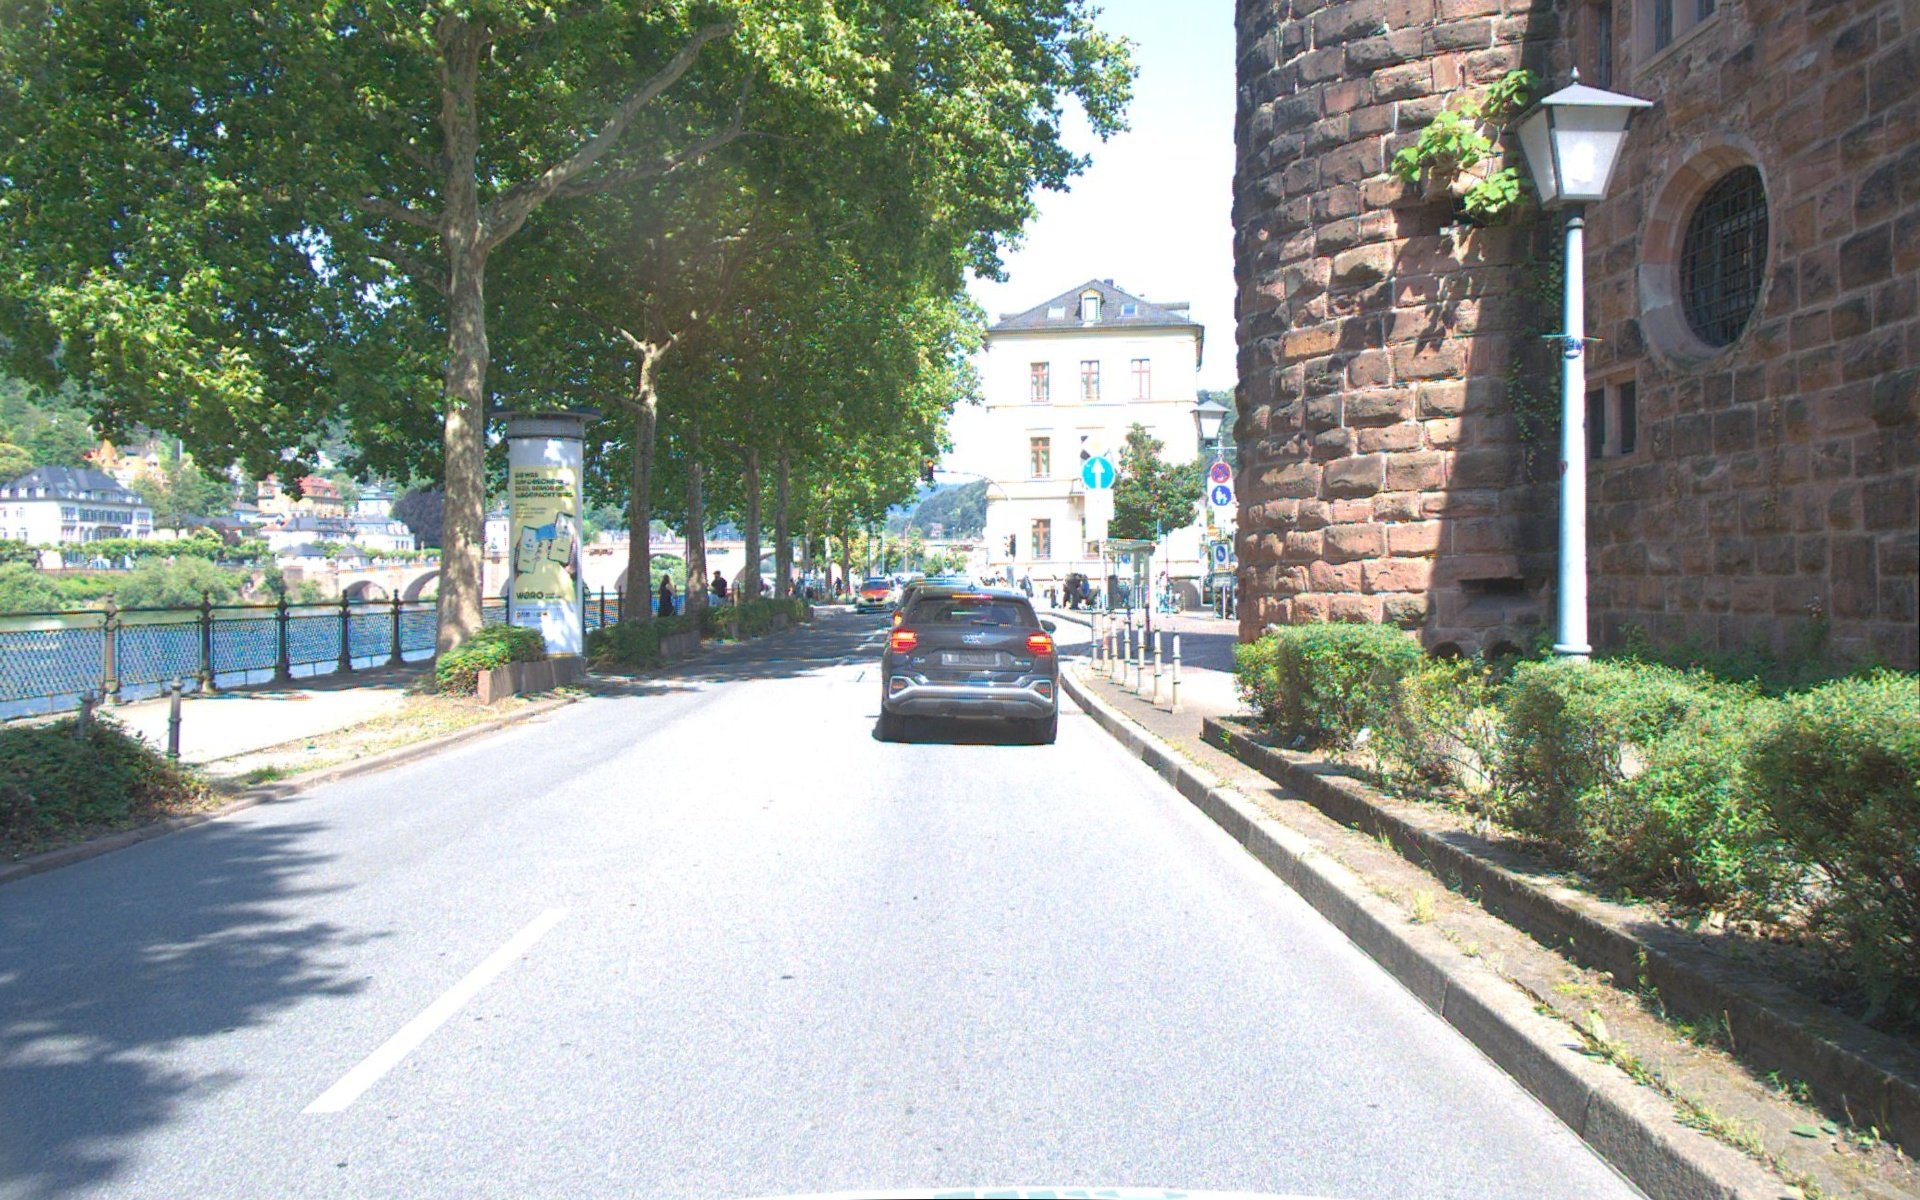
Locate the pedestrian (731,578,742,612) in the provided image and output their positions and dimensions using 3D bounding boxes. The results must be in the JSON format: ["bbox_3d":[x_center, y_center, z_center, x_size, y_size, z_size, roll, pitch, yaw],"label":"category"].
[{"bbox_3d":[-10.453,-0.230,77.406,0.488,1.564,0.679,0,0,-8],"label":"pedestrian"}]

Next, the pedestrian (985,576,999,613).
[{"bbox_3d":[1.383,-0.245,71.250,0.545,1.585,0.660,1,0,0],"label":"pedestrian"}]

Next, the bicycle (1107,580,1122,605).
[{"bbox_3d":[6.194,-0.311,66.418,0.441,0.991,1.399,2,0,0],"label":"bicycle"}]

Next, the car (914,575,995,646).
[{"bbox_3d":[-0.130,0.204,38.445,1.764,1.549,3.716,-1,1,0],"label":"car"}]

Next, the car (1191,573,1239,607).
[{"bbox_3d":[13.739,-0.549,89.260,1.953,1.746,4.000,2,0,0],"label":"car"}]

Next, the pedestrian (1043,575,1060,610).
[{"bbox_3d":[4.107,-0.339,74.142,0.731,1.585,0.588,1,0,0],"label":"pedestrian"}]

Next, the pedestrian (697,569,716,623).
[{"bbox_3d":[-8.304,-0.139,54.169,0.552,1.772,0.665,0,0,-4],"label":"pedestrian"}]

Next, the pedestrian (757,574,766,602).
[{"bbox_3d":[-10.330,-0.622,86.091,0.401,1.450,0.456,2,0,-4],"label":"pedestrian"}]

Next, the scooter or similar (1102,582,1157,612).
[{"bbox_3d":[5.840,-0.098,56.955,1.808,0.980,0.429,2,0,-1],"label":"scooter or similar"}]

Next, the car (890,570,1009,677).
[{"bbox_3d":[-0.160,0.320,26.607,1.764,1.590,3.716,0,1,0],"label":"car"}]

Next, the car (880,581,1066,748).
[{"bbox_3d":[0.074,0.586,17.346,1.713,1.520,3.628,1,1,-2],"label":"car"}]

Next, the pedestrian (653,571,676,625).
[{"bbox_3d":[-9.722,-0.076,54.491,0.632,1.747,0.665,1,0,-4],"label":"pedestrian"}]

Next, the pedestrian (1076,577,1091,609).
[{"bbox_3d":[4.865,-0.267,65.161,0.535,1.222,0.522,2,0,0],"label":"pedestrian"}]

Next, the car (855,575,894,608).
[{"bbox_3d":[-4.091,-0.410,79.407,1.581,1.549,3.477,0,1,1],"label":"car"}]

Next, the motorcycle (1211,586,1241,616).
[{"bbox_3d":[7.558,0.015,47.131,0.473,0.832,2.279,0,1,0],"label":"motorcycle"}]

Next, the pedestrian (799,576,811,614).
[{"bbox_3d":[-6.864,-0.213,73.422,0.507,1.666,0.438,0,0,-8],"label":"pedestrian"}]

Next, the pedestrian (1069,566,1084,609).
[{"bbox_3d":[4.530,-0.474,64.376,0.545,1.661,0.660,1,0,0],"label":"pedestrian"}]
